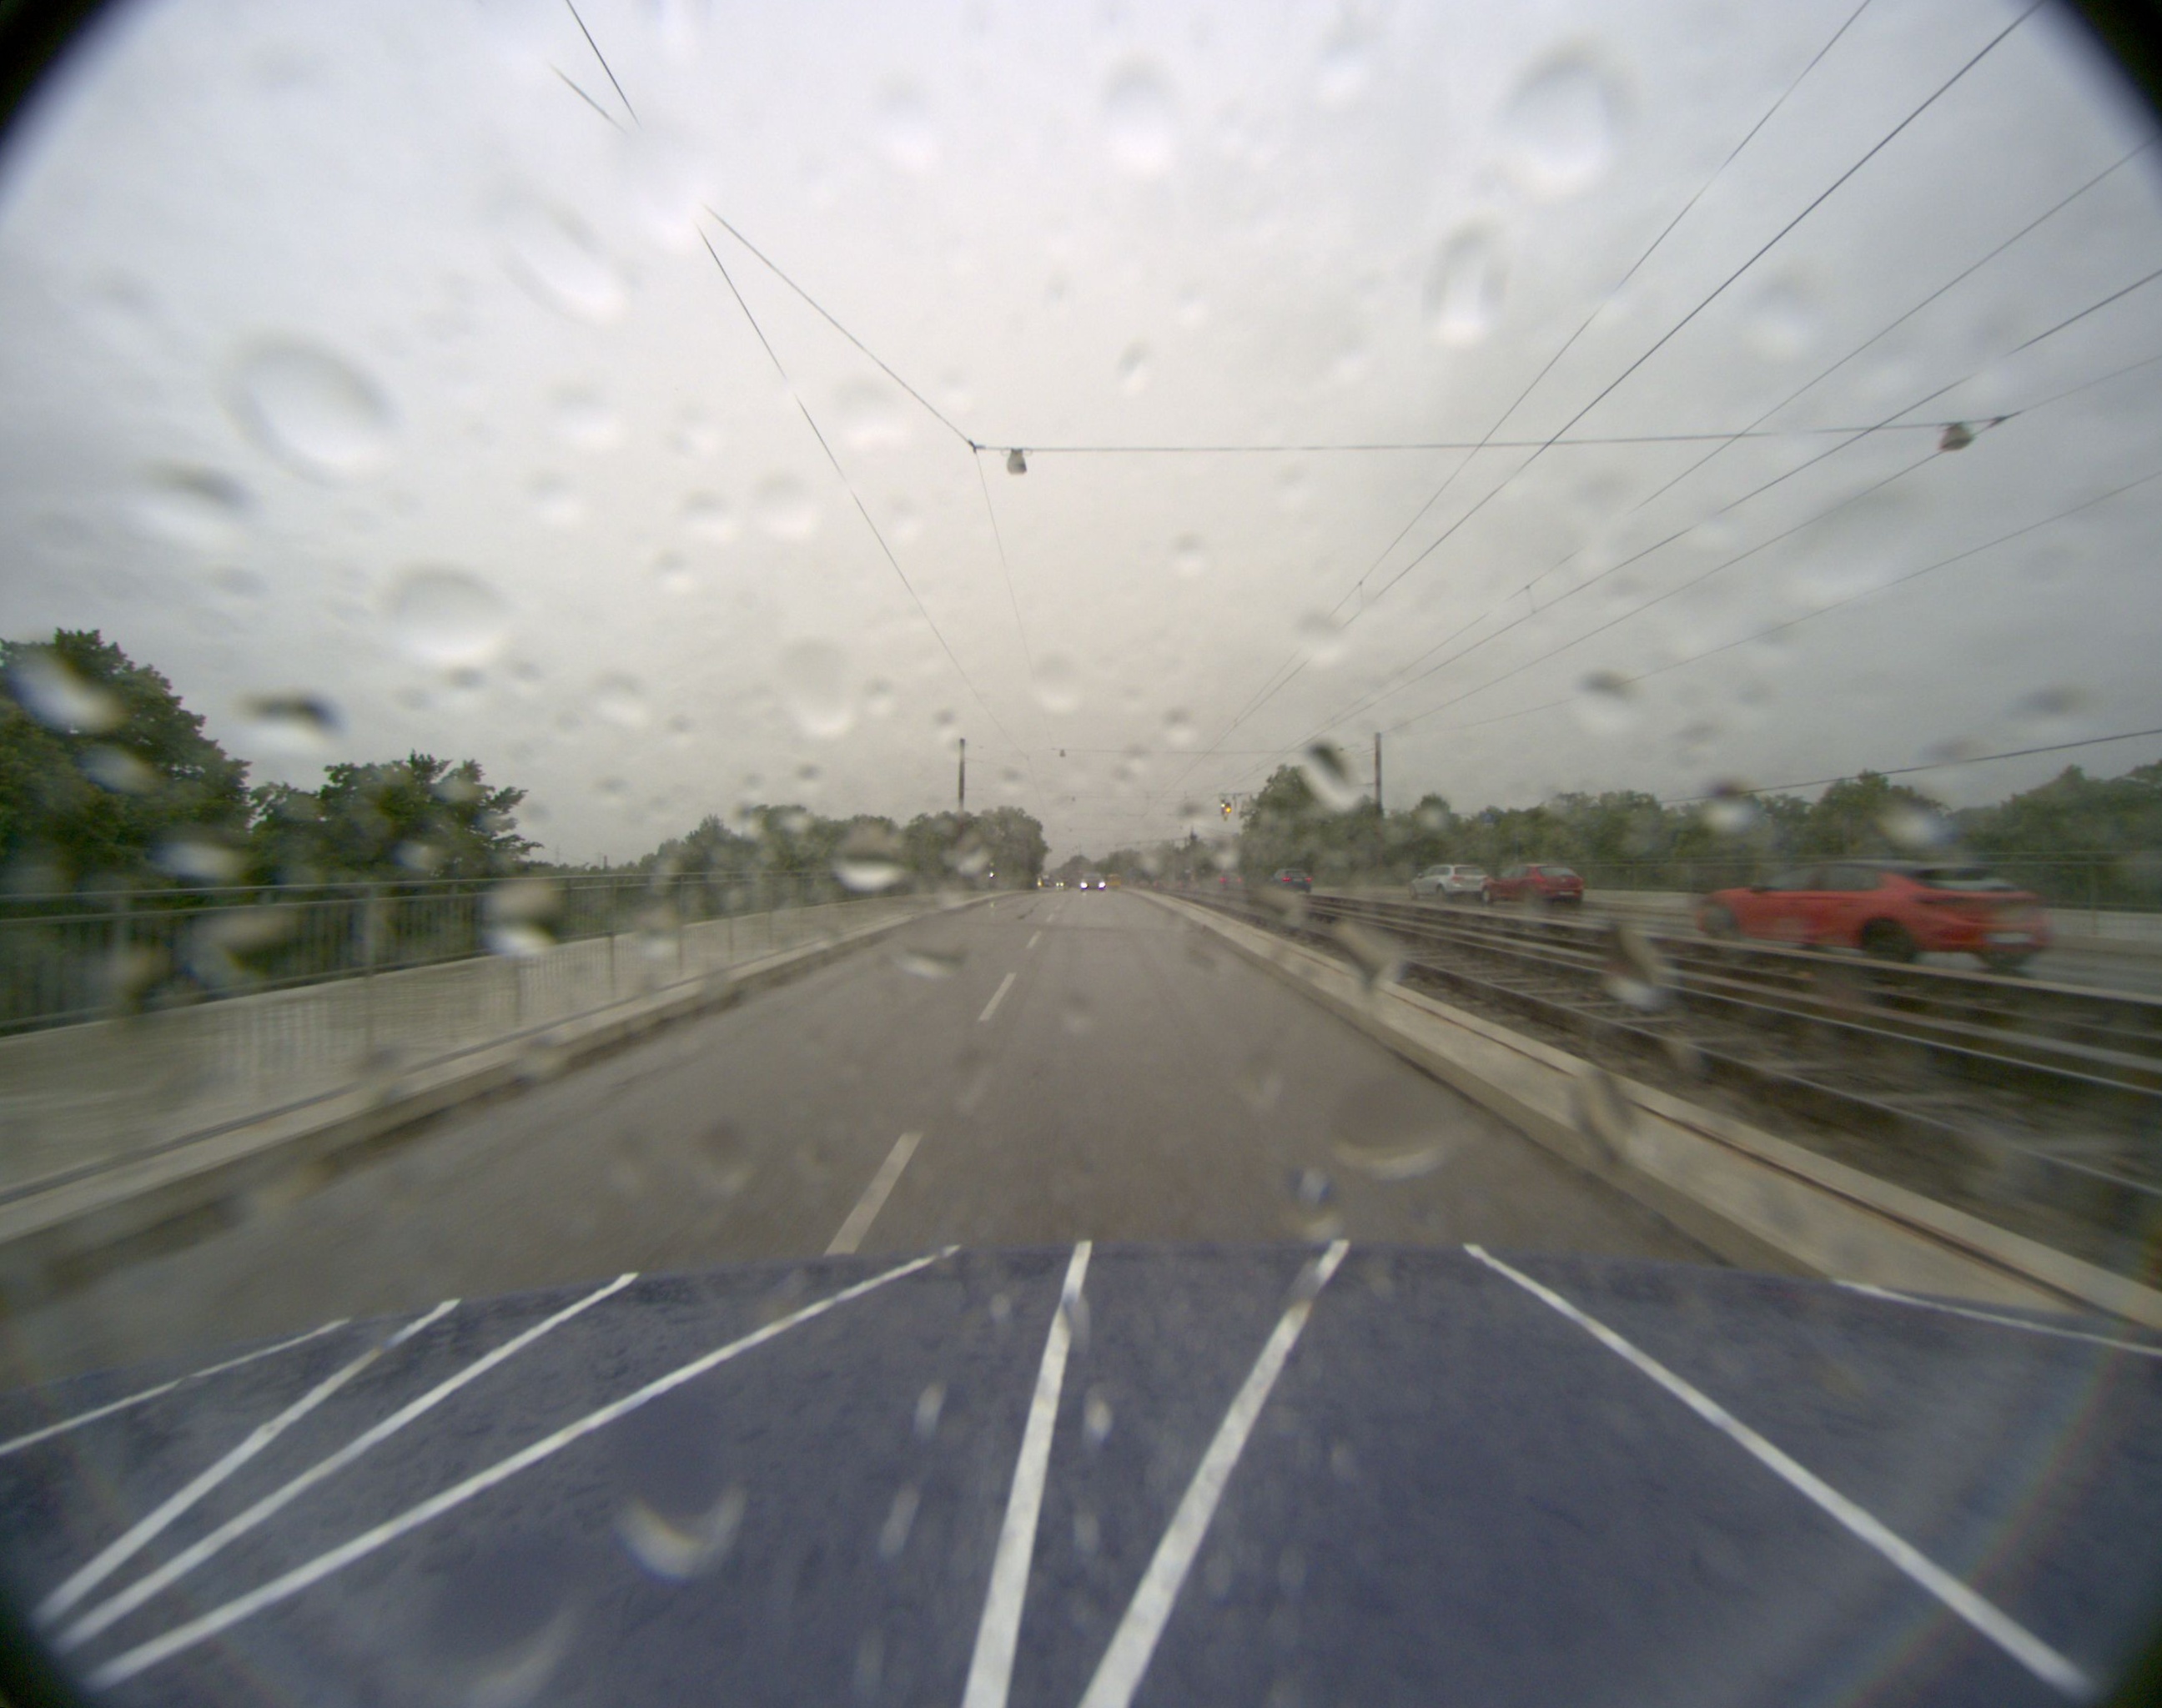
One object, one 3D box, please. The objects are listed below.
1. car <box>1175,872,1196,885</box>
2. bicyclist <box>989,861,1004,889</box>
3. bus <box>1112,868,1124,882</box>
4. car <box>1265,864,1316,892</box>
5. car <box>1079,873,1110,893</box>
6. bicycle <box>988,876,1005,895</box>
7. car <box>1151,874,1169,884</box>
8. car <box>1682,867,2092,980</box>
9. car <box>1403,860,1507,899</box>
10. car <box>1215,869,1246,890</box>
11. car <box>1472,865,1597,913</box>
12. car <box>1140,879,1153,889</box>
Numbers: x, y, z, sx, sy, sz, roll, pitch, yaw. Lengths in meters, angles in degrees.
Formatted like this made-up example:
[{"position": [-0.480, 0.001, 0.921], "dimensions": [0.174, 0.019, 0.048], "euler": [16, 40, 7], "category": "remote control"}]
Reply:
[{"position": [12.660, 2.975, 92.409], "dimensions": [1.999, 1.500, 4.092], "euler": [1, -1, 0], "category": "car"}, {"position": [-5.279, 1.303, 47.496], "dimensions": [0.727, 1.753, 0.949], "euler": [-2, 0, 1], "category": "bicyclist"}, {"position": [9.937, 5.780, 204.942], "dimensions": [2.715, 3.319, 10.999], "euler": [1, -3, 0], "category": "bus"}, {"position": [12.003, 1.330, 43.793], "dimensions": [1.804, 1.473, 4.084], "euler": [-2, -1, 1], "category": "car"}, {"position": [1.032, 2.299, 60.231], "dimensions": [1.999, 1.497, 4.196], "euler": [-2, -2, -4], "category": "car"}, {"position": [-5.244, 1.979, 47.406], "dimensions": [0.725, 1.122, 2.168], "euler": [-2, -2, 1], "category": "bicycle"}, {"position": [12.116, 3.855, 117.096], "dimensions": [1.999, 1.500, 5.113], "euler": [1, -1, -2], "category": "car"}, {"position": [11.524, 0.887, 11.389], "dimensions": [1.804, 1.308, 4.084], "euler": [-2, -1, 1], "category": "car"}, {"position": [15.450, 1.024, 31.701], "dimensions": [1.999, 1.447, 4.620], "euler": [1, -1, 0], "category": "car"}, {"position": [12.567, 2.117, 64.075], "dimensions": [1.822, 1.644, 4.001], "euler": [-2, -1, 1], "category": "car"}, {"position": [15.221, 1.119, 25.799], "dimensions": [1.624, 1.447, 4.322], "euler": [1, -1, 0], "category": "car"}, {"position": [12.427, 5.603, 144.084], "dimensions": [1.998, 1.706, 4.942], "euler": [1, -1, 0], "category": "car"}]
